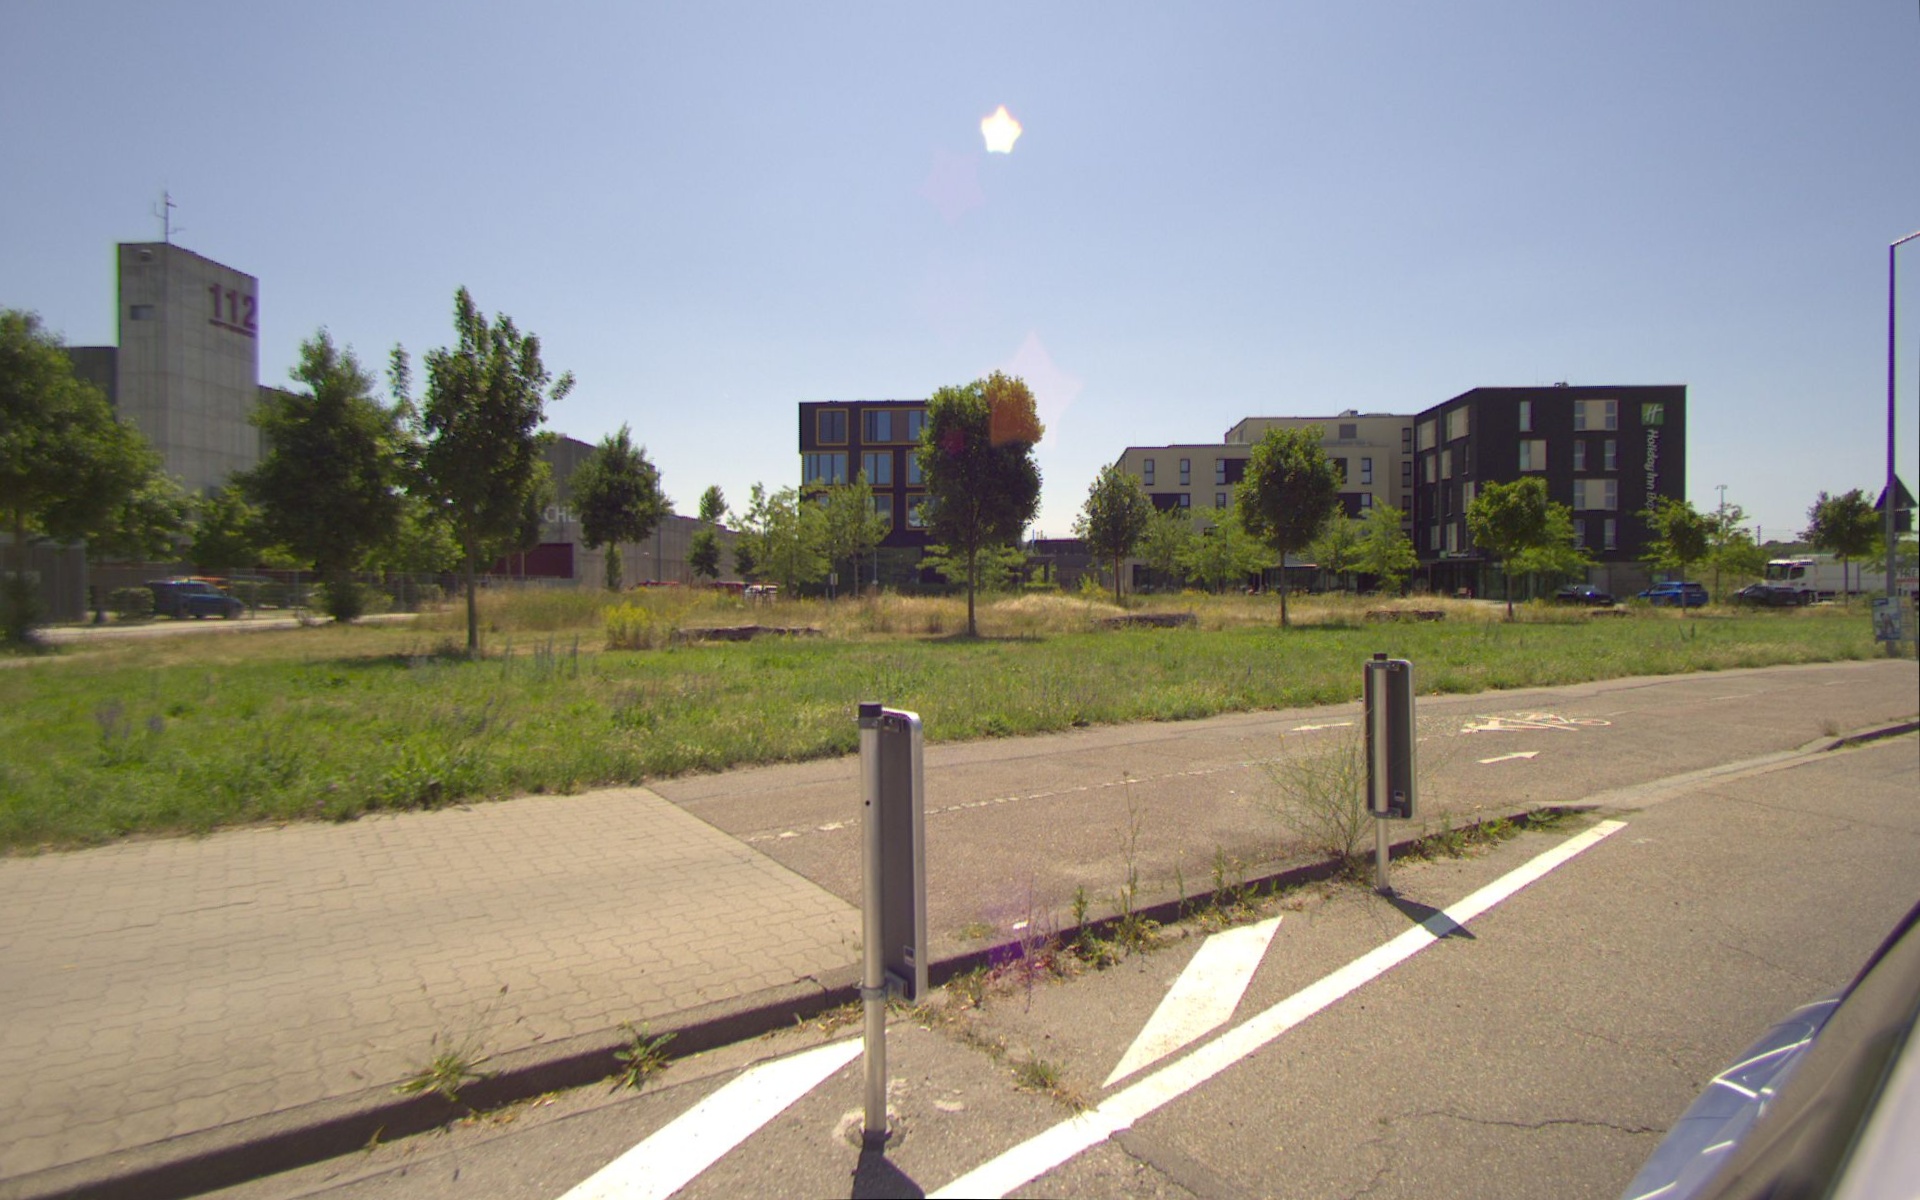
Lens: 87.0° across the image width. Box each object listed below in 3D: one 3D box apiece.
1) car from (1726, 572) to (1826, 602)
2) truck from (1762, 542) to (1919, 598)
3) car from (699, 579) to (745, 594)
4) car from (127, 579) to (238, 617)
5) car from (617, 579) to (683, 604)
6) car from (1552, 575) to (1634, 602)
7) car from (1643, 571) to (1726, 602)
[{"bbox_3d":[45.102,-0.731,56.083,1.995,1.581,4.506,0,1,3],"label":"car"},{"bbox_3d":[59.915,-1.991,66.100,11.927,3.503,3.015,0,3,6],"label":"truck"},{"bbox_3d":[-25.006,-1.437,106.418,4.441,1.529,1.802,0,1,2],"label":"car"},{"bbox_3d":[-33.452,-0.125,43.693,1.625,1.509,3.998,0,1,3],"label":"car"},{"bbox_3d":[-27.023,-0.742,88.380,5.070,2.142,2.234,-1,1,6],"label":"car"},{"bbox_3d":[35.841,-0.683,57.417,1.924,1.462,4.129,0,1,-2],"label":"car"},{"bbox_3d":[40.722,-0.774,56.985,1.919,1.672,4.068,0,1,4],"label":"car"}]
